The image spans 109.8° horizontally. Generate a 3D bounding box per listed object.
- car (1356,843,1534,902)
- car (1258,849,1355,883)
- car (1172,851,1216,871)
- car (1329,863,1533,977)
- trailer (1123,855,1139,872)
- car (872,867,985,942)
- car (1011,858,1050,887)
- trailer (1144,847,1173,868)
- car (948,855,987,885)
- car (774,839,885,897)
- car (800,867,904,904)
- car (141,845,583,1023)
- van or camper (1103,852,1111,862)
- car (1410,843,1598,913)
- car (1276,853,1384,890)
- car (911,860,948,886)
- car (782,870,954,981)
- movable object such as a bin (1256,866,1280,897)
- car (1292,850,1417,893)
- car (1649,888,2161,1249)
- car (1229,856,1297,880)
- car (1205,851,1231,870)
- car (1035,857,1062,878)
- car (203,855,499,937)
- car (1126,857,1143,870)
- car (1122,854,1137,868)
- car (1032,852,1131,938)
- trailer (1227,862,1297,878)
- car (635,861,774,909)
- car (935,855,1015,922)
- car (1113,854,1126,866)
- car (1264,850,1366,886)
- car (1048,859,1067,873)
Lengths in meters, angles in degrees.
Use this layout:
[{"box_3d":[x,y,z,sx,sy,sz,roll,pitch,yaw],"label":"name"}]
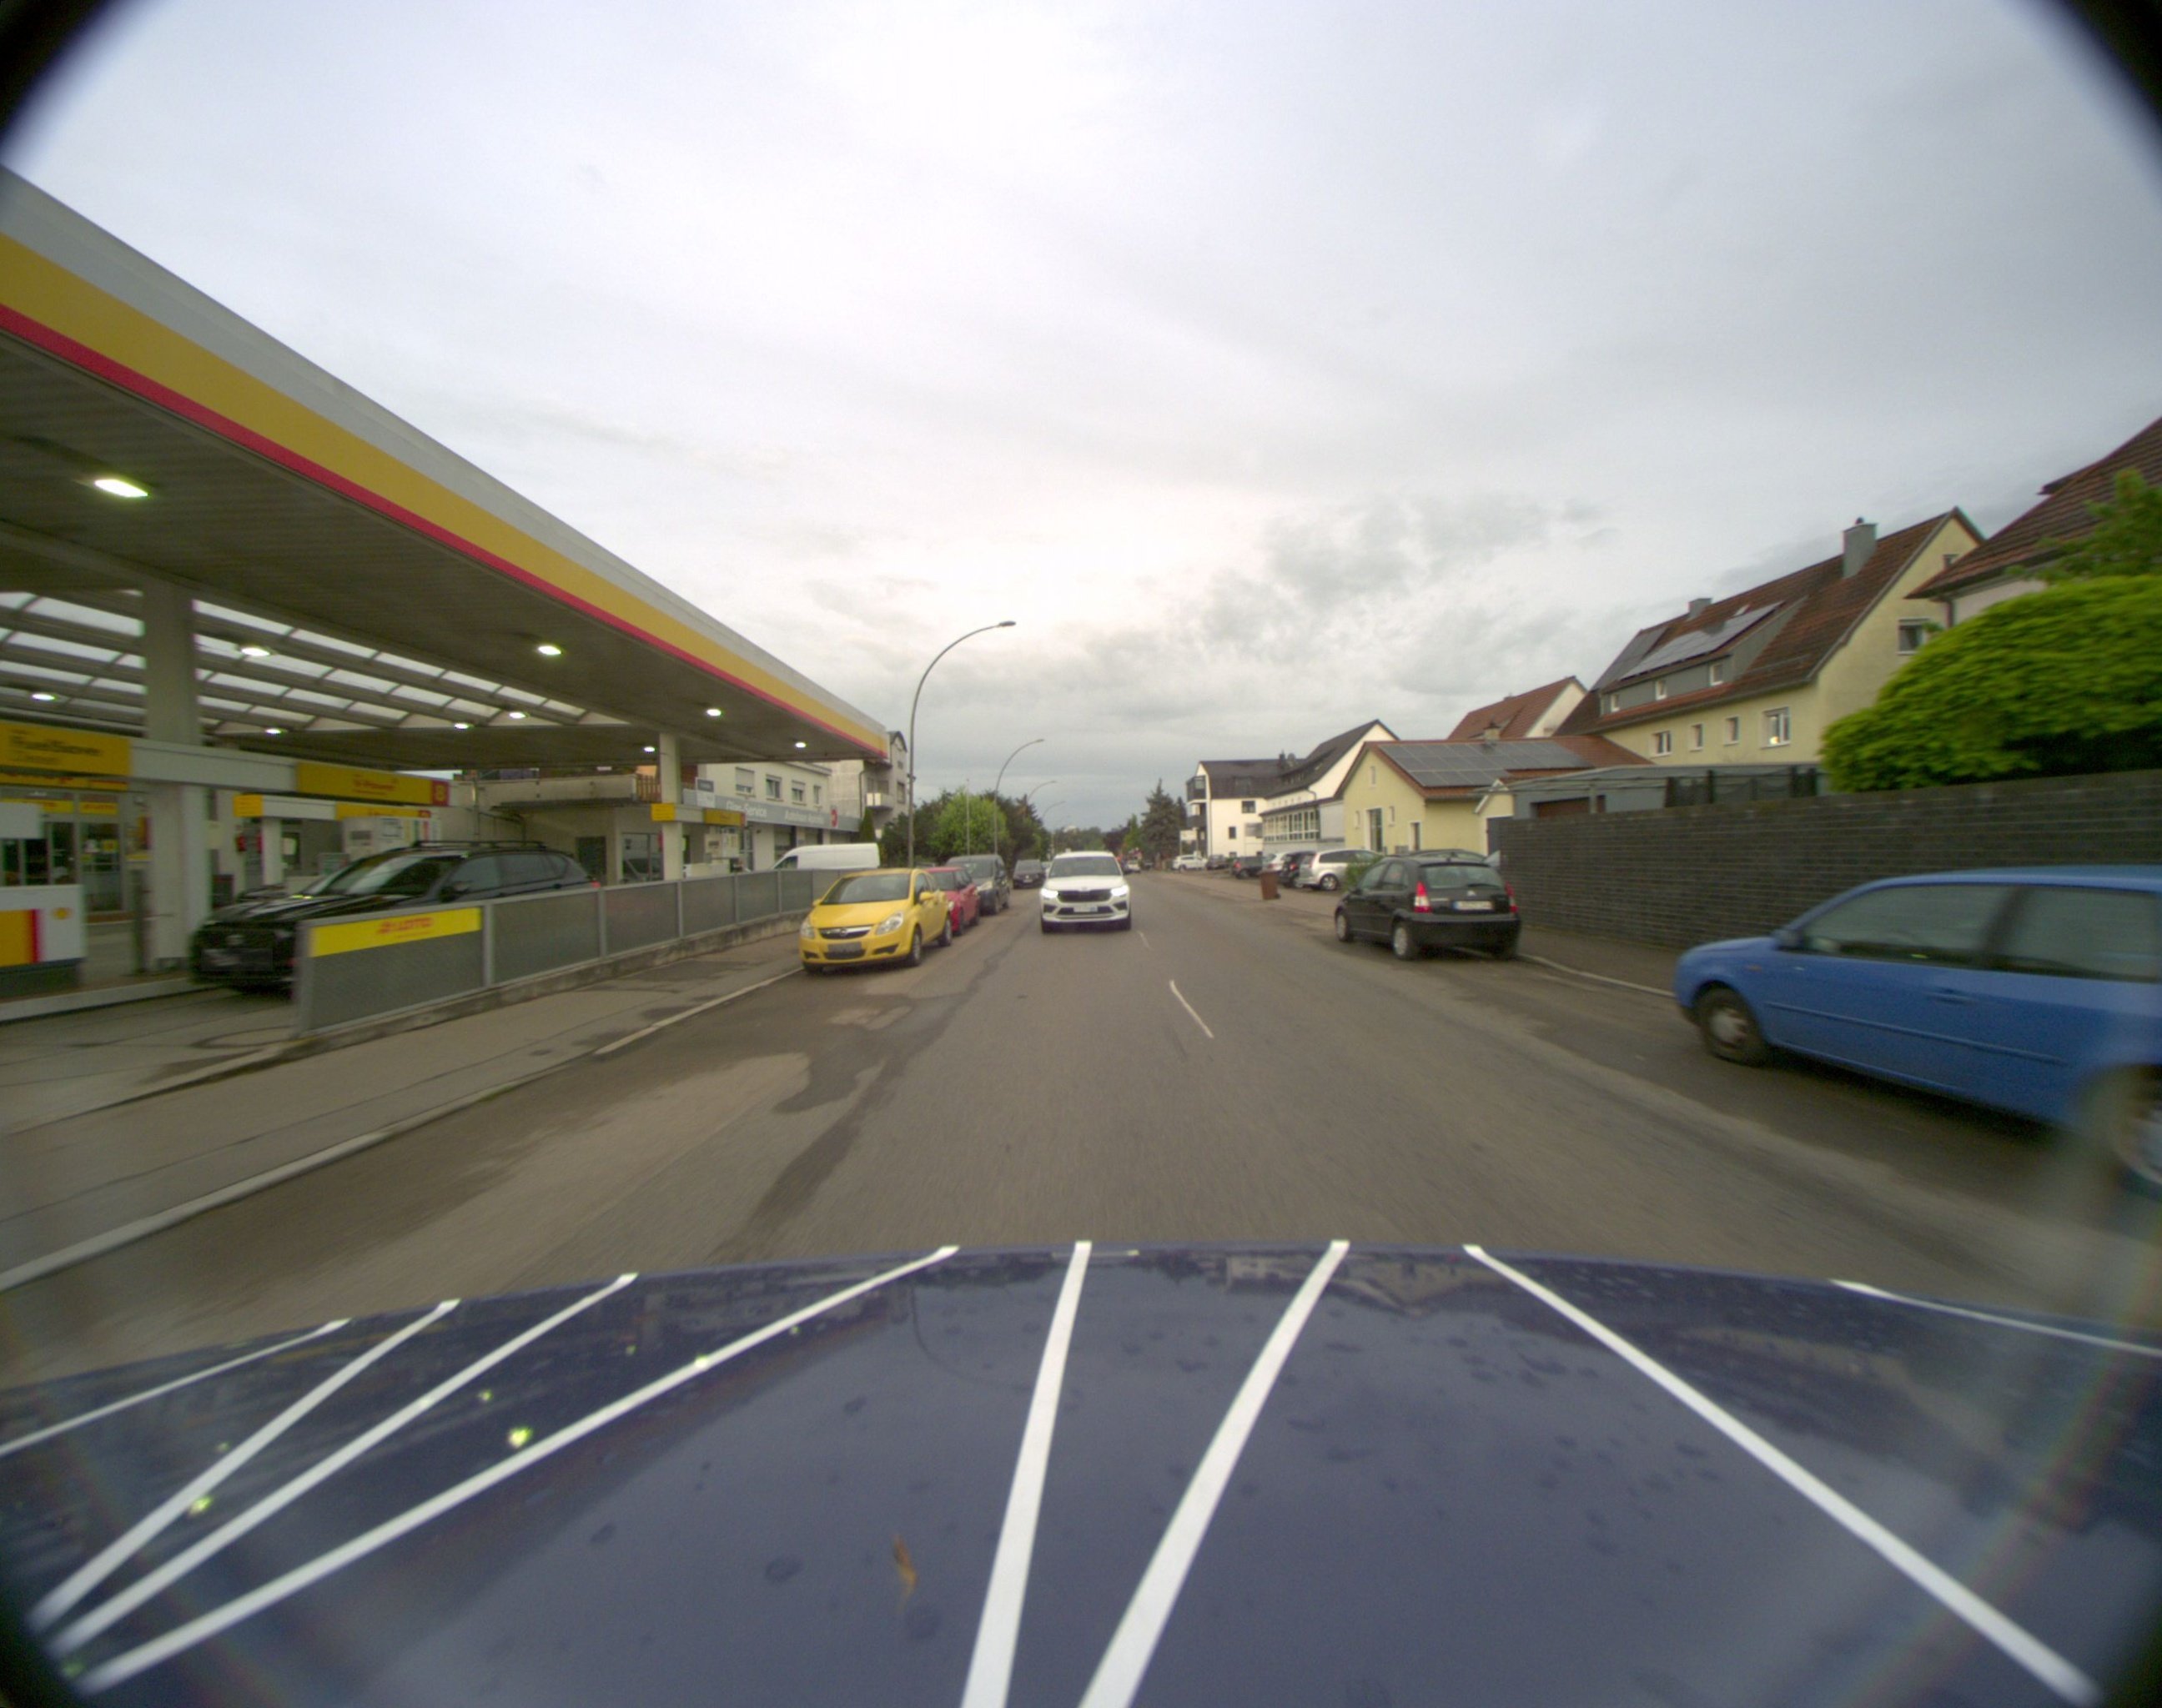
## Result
[{"box_3d":[10.062,0.499,21.184,4.095,1.405,1.714,-2,0,-2],"label":"car"},{"box_3d":[11.111,0.611,37.610,4.096,1.523,2.000,-2,-2,-5],"label":"car"},{"box_3d":[11.518,0.709,77.450,3.997,1.637,2.000,-5,0,-1],"label":"car"},{"box_3d":[5.357,0.921,12.182,1.612,1.497,3.707,0,0,1],"label":"car"},{"box_3d":[6.454,1.237,97.848,1.721,2.114,4.007,-2,0,1],"label":"trailer"},{"box_3d":[-3.265,1.033,17.025,1.660,1.368,4.024,-1,0,0],"label":"car"},{"box_3d":[-2.850,1.025,44.020,1.999,1.586,4.000,-1,0,0],"label":"car"},{"box_3d":[11.488,0.521,113.221,4.059,3.028,2.168,-2,1,2],"label":"trailer"},{"box_3d":[-6.887,0.947,46.427,1.999,1.673,3.999,-1,0,-4],"label":"car"},{"box_3d":[-11.859,0.628,35.877,4.809,2.506,2.244,-1,0,-21],"label":"car"},{"box_3d":[-10.074,1.336,33.576,4.007,1.367,1.775,-2,1,-40],"label":"car"},{"box_3d":[-8.509,0.804,9.617,1.824,1.749,3.999,-1,0,-2],"label":"car"},{"box_3d":[6.091,0.772,178.927,1.811,2.328,4.000,-2,0,2],"label":"van or camper"},{"box_3d":[10.240,0.552,18.567,3.595,1.448,1.756,-3,1,-4],"label":"car"},{"box_3d":[10.794,0.745,33.139,4.096,1.494,1.756,-1,0,-5],"label":"car"},{"box_3d":[-9.573,1.157,48.205,1.752,1.510,3.731,2,0,-3],"label":"car"},{"box_3d":[-3.235,1.021,12.304,1.660,1.393,3.801,-1,0,0],"label":"car"},{"box_3d":[6.711,0.986,27.248,0.597,1.051,0.687,-6,-1,1],"label":"movable object such as a bin"},{"box_3d":[10.483,0.657,29.289,4.095,1.505,1.883,-1,0,-3],"label":"car"},{"box_3d":[5.370,0.976,4.374,1.549,1.395,3.597,0,0,1],"label":"car"},{"box_3d":[11.453,0.866,47.990,3.883,1.430,1.768,-1,0,0],"label":"car"},{"box_3d":[13.052,0.606,72.472,1.824,1.521,4.001,-7,0,3],"label":"car"},{"box_3d":[-2.587,1.075,60.768,1.741,1.493,3.882,-3,0,2],"label":"car"},{"box_3d":[-15.047,0.773,16.138,1.744,1.457,4.673,-1,0,0],"label":"car"},{"box_3d":[6.413,1.169,91.199,1.740,1.496,3.871,-1,0,1],"label":"car"},{"box_3d":[7.358,1.092,115.899,1.998,2.112,4.755,-1,0,2],"label":"car"},{"box_3d":[0.039,0.810,17.092,1.884,1.650,4.831,-1,0,1],"label":"car"},{"box_3d":[12.085,1.085,50.777,4.208,0.937,1.794,-1,0,-2],"label":"trailer"},{"box_3d":[-14.478,1.134,29.409,1.994,1.631,4.370,-1,0,44],"label":"car"},{"box_3d":[-3.092,0.942,22.969,1.660,1.728,4.444,-4,0,0],"label":"car"},{"box_3d":[7.368,1.189,147.323,2.264,2.275,4.531,1,0,0],"label":"car"},{"box_3d":[10.800,0.639,35.248,4.095,1.523,1.813,-1,0,-3],"label":"car"},{"box_3d":[-2.396,1.240,79.306,1.756,1.410,4.110,-1,0,1],"label":"car"}]
